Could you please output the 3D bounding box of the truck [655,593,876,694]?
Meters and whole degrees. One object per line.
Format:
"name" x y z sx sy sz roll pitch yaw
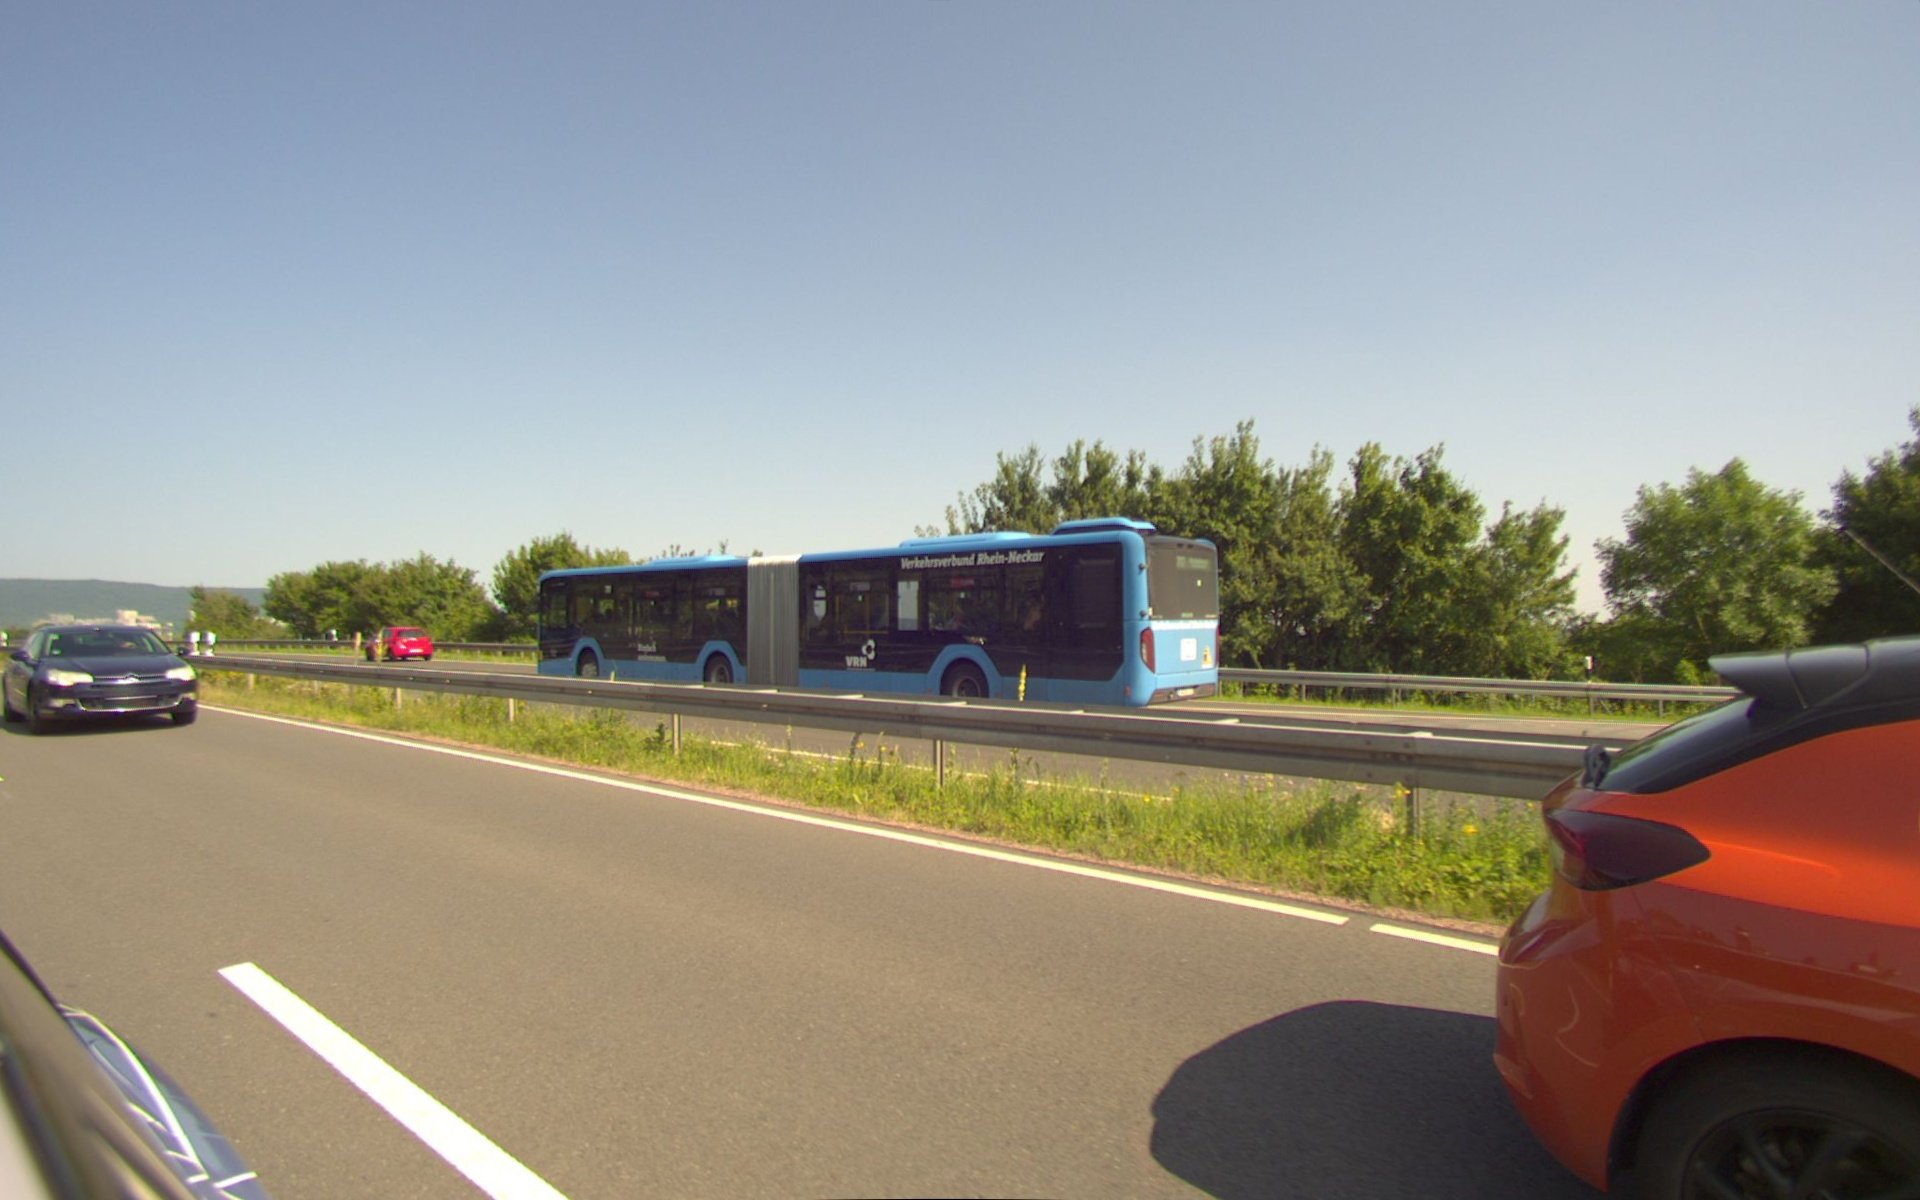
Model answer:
"truck" -5.433 1.195 27.623 6.609 2.472 2.106 -2 -5 39

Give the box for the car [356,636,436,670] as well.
"car" -25.241 2.362 45.251 3.996 1.457 1.767 -2 -3 39

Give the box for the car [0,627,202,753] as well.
"car" -12.752 1.189 14.854 4.373 1.545 1.765 -1 -1 41

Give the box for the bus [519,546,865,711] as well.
"bus" -6.597 0.698 23.550 9.828 3.134 2.697 -2 -3 40

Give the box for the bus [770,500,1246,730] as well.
"bus" 0.412 0.336 17.543 8.388 3.134 2.697 -2 -3 41

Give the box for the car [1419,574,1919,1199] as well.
"car" 3.232 0.649 1.414 4.409 1.448 1.691 -2 -2 41
